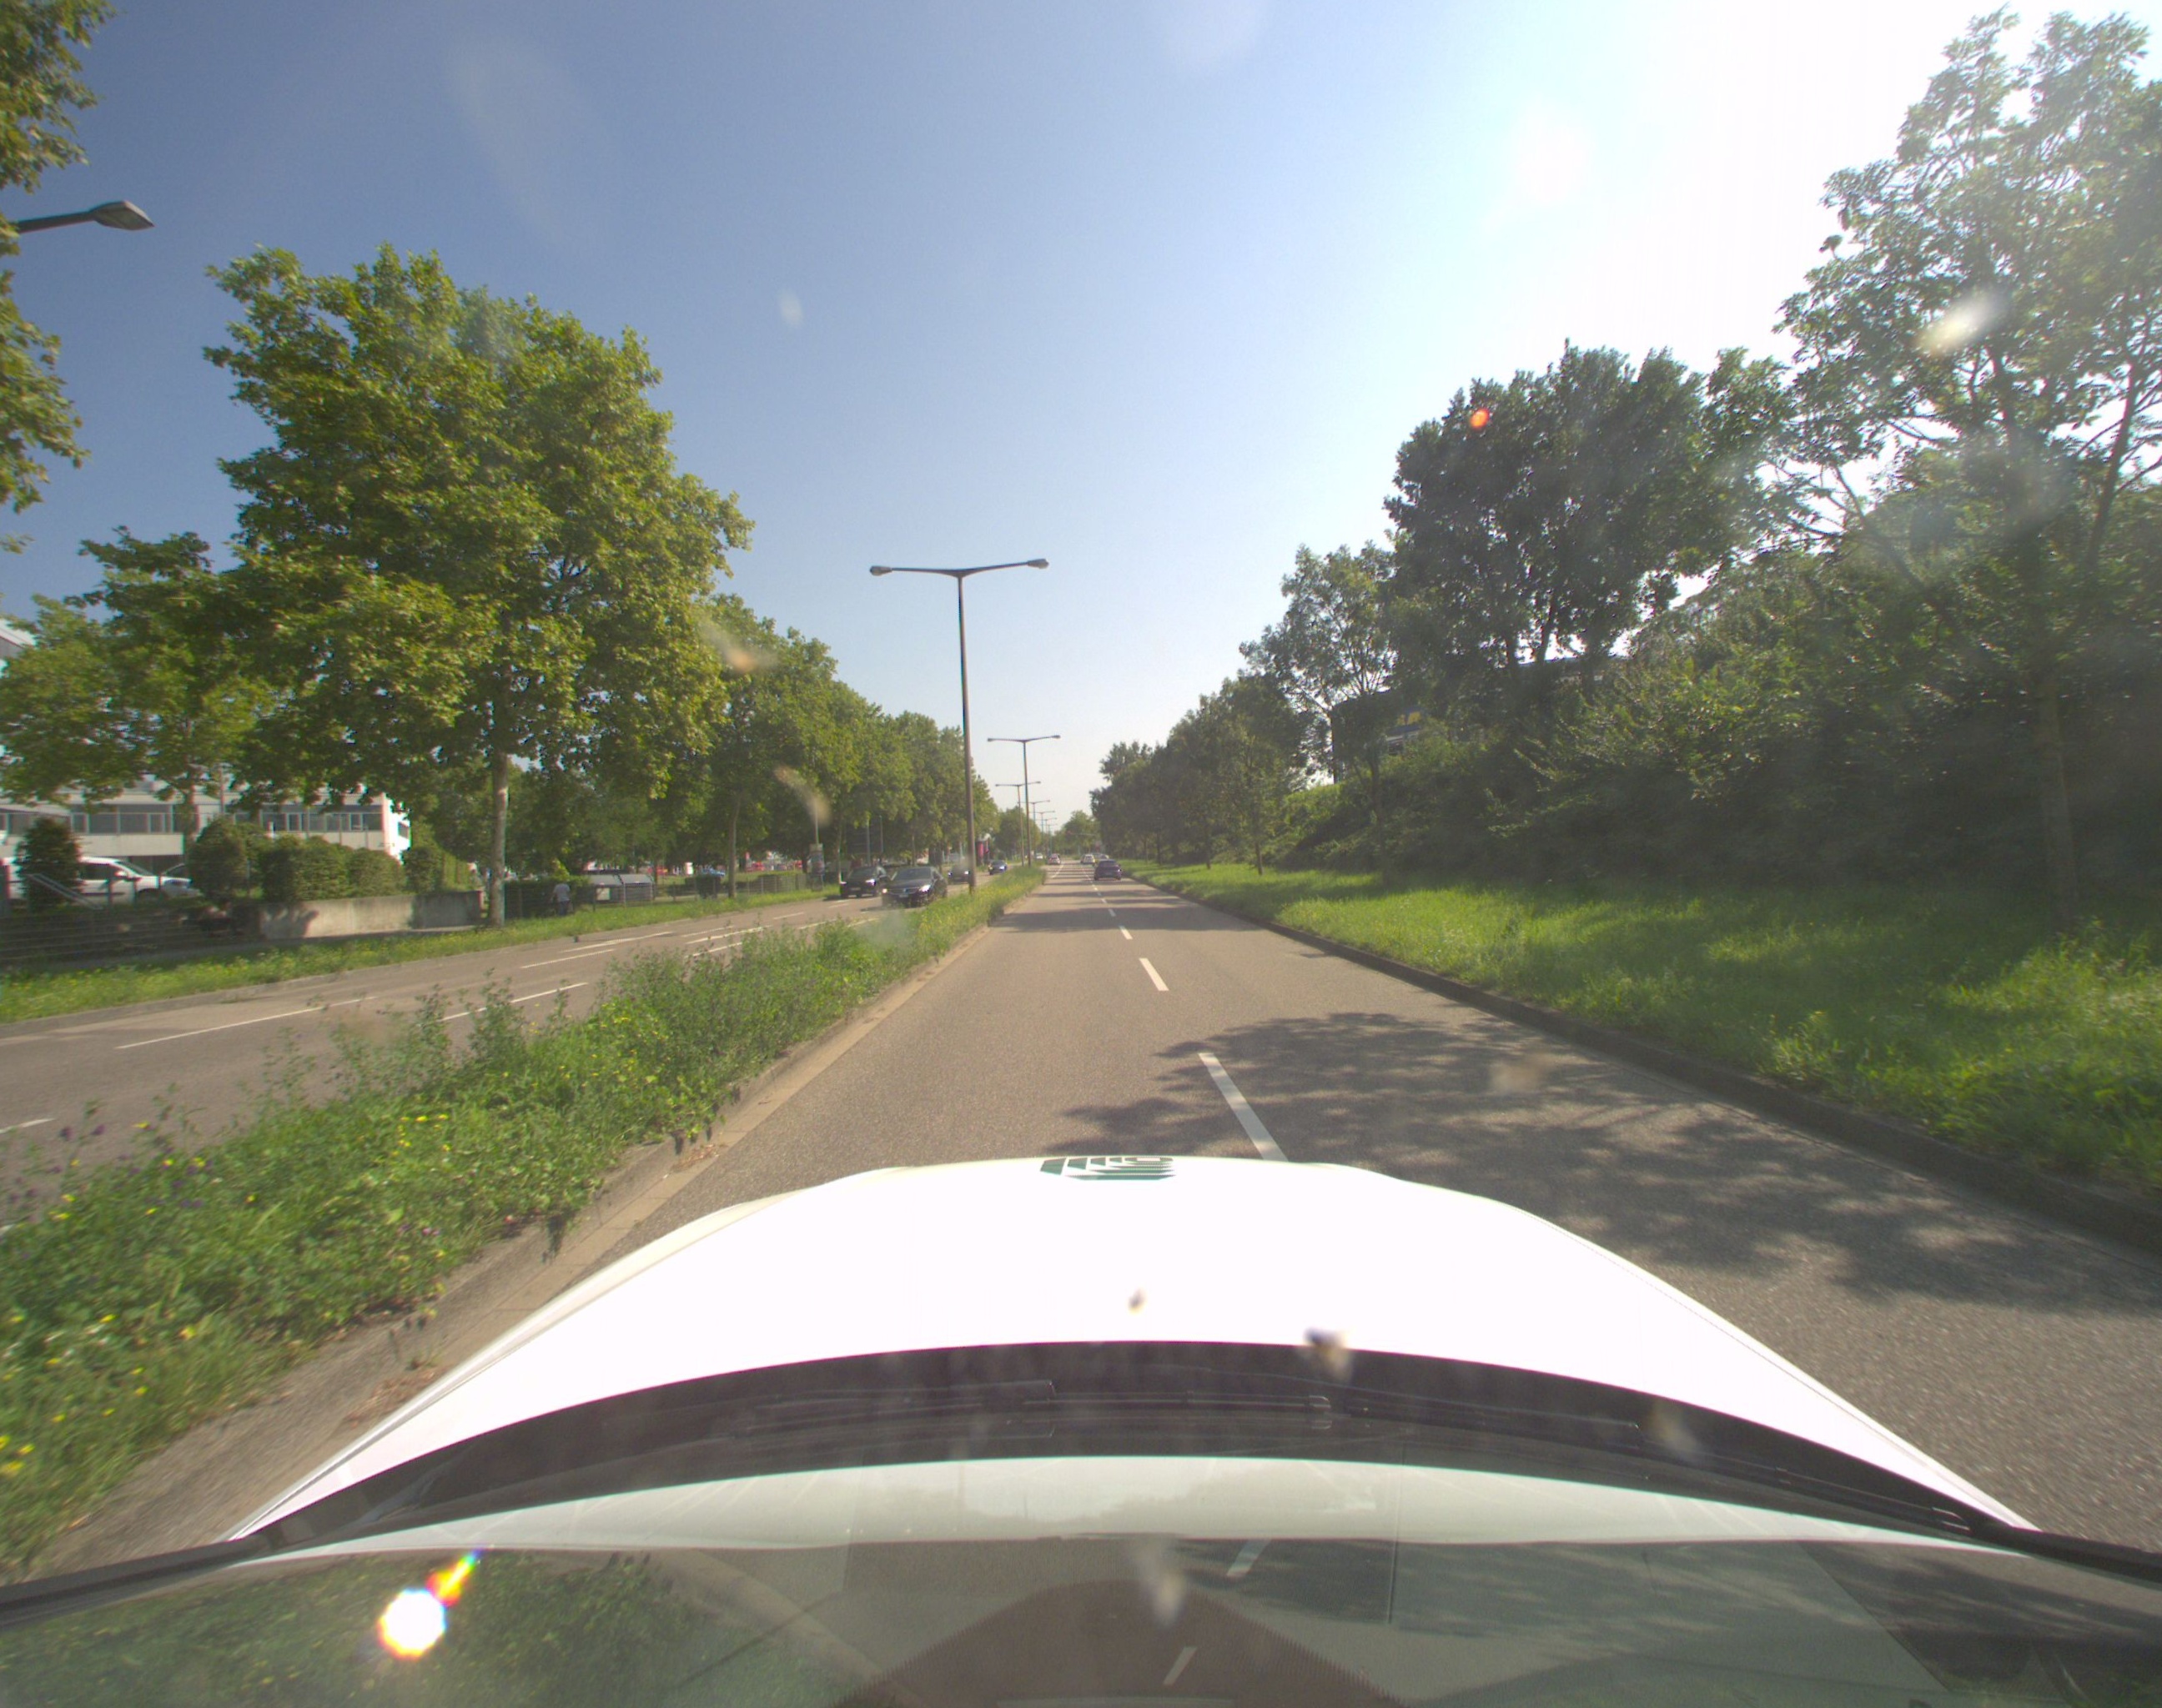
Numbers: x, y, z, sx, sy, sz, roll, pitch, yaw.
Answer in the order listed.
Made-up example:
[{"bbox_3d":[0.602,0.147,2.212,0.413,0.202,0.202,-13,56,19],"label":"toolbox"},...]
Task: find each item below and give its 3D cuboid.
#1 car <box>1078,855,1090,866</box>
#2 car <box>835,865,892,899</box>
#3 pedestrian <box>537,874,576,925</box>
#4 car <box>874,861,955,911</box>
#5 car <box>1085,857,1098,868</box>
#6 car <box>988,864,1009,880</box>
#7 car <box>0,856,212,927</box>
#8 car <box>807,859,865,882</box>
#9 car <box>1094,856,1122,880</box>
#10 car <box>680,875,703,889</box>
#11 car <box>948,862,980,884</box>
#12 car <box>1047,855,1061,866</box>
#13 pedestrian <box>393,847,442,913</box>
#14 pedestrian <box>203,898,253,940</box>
[{"bbox_3d":[0.561,1.235,155.511,1.989,1.653,3.998,-1,3,-3],"label":"car"},{"bbox_3d":[-11.482,1.454,43.264,1.840,1.605,4.608,-2,0,-1],"label":"car"},{"bbox_3d":[-21.918,1.876,34.023,1.252,2.013,1.022,1,3,42],"label":"pedestrian"},{"bbox_3d":[-5.867,1.079,29.310,1.840,1.489,4.643,-4,0,0],"label":"car"},{"bbox_3d":[1.774,1.462,134.050,1.988,1.654,3.998,-3,-1,-1],"label":"car"},{"bbox_3d":[-9.164,1.952,91.250,1.989,1.585,4.342,-4,0,-3],"label":"car"},{"bbox_3d":[-31.211,1.121,25.823,4.634,1.901,1.979,-2,3,-36],"label":"car"},{"bbox_3d":[-26.787,1.822,89.291,5.570,2.336,2.277,-1,2,-3],"label":"car"},{"bbox_3d":[1.847,0.934,56.244,1.775,1.427,3.999,-1,2,-1],"label":"car"},{"bbox_3d":[-49.182,3.571,102.829,1.941,1.452,3.956,-2,3,-36],"label":"car"},{"bbox_3d":[-8.826,1.429,61.556,1.699,1.490,4.311,-2,0,0],"label":"car"},{"bbox_3d":[-4.391,1.043,133.648,1.986,1.702,4.002,-3,-1,2],"label":"car"},{"bbox_3d":[-24.531,0.940,30.126,0.964,2.390,0.917,-1,2,6],"label":"pedestrian"},{"bbox_3d":[-24.015,1.821,22.937,0.734,1.109,0.561,-1,2,-6],"label":"pedestrian"}]
